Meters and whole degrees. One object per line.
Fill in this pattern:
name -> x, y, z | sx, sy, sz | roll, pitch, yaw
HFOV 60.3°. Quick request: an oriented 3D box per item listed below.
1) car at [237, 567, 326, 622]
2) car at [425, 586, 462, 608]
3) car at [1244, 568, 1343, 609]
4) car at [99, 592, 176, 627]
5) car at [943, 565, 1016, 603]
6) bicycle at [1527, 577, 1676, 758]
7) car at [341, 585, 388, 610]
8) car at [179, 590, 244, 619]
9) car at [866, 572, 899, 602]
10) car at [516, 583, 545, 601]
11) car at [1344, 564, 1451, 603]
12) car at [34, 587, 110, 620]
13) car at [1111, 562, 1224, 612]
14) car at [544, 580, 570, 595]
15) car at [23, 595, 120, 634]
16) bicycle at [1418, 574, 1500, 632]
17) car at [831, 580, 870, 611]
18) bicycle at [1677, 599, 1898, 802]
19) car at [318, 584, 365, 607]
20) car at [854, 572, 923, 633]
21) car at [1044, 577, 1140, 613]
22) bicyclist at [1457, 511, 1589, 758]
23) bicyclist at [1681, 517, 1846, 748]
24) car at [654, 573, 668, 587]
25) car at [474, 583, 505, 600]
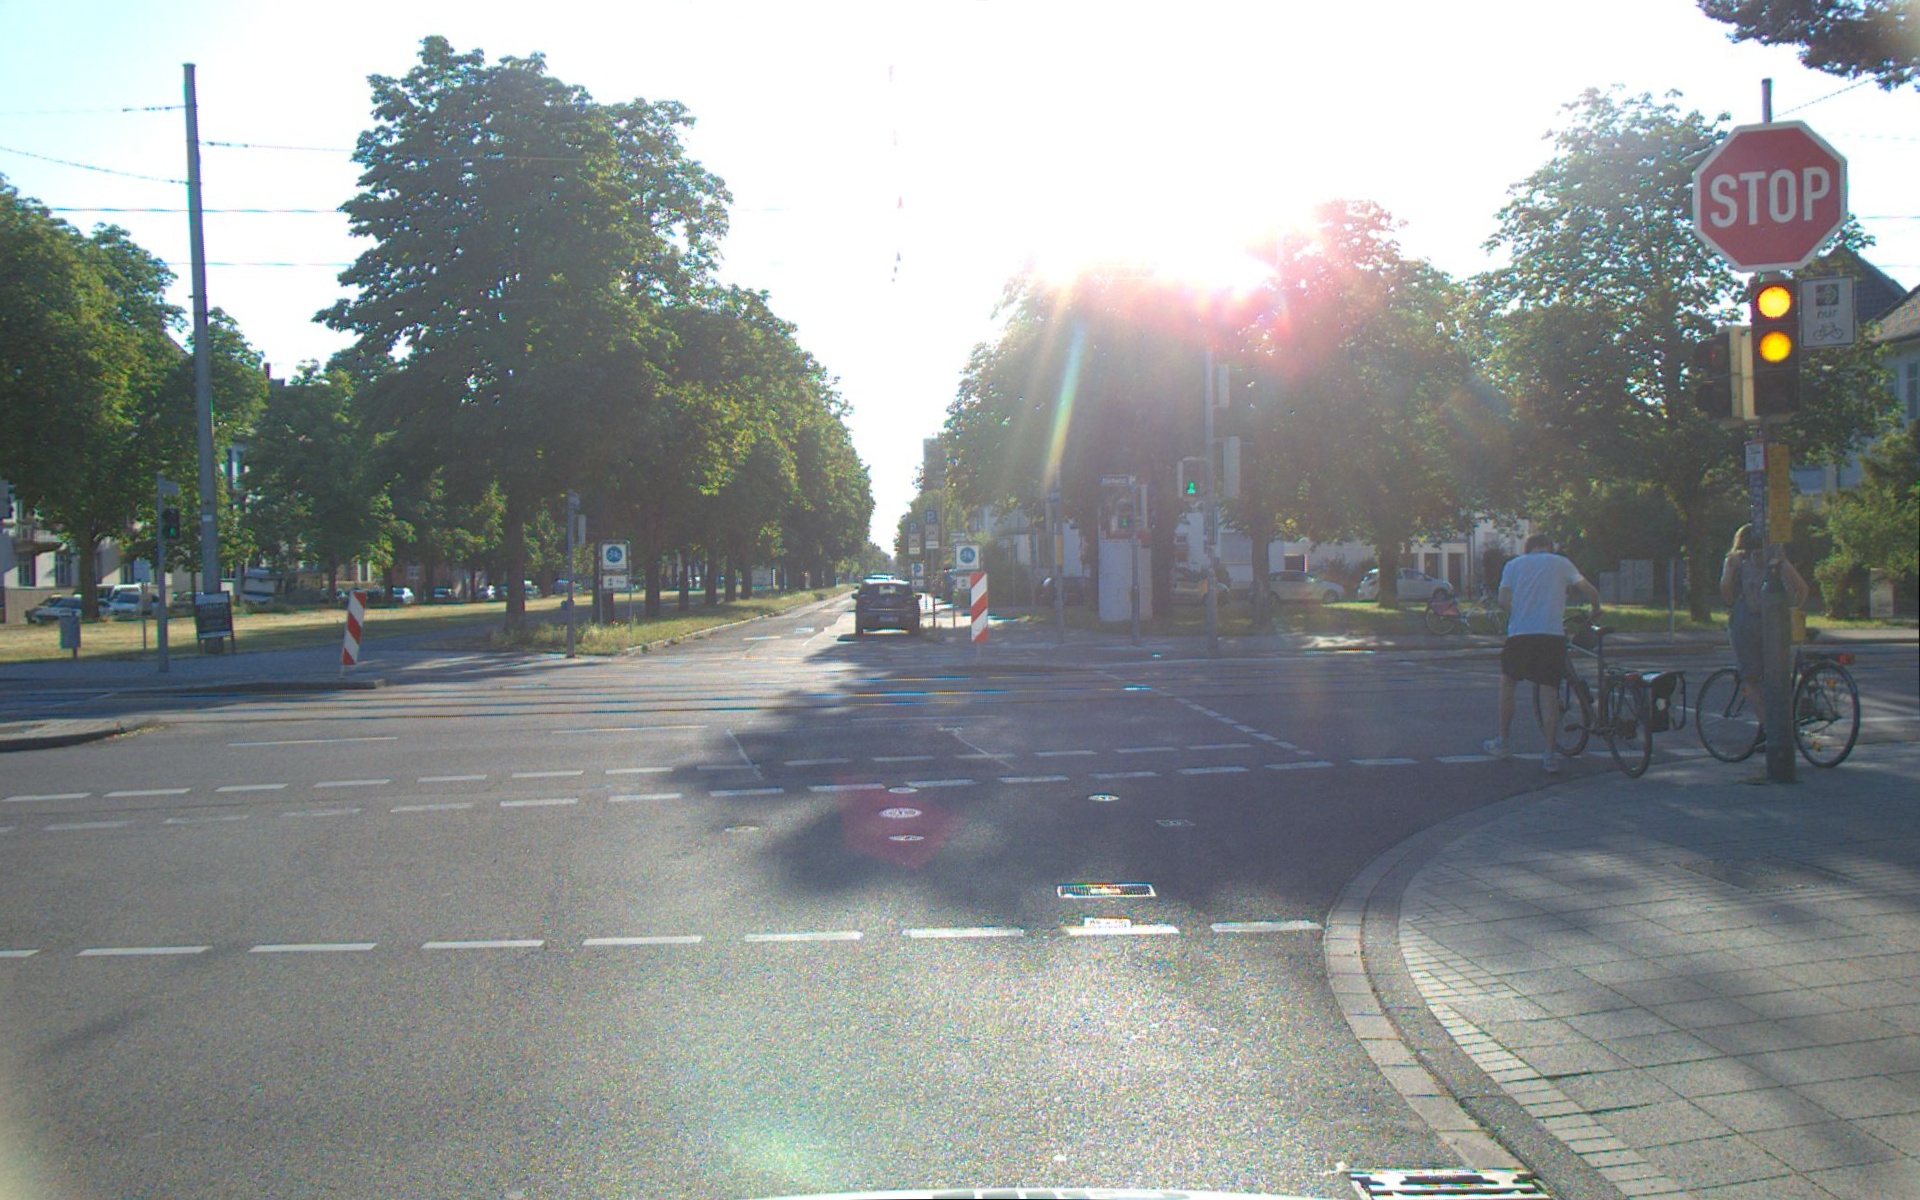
car -> -41.072, -0.378, 100.407 | 2.344, 3.185, 7.850 | 1, 1, -2
car -> -42.496, -0.235, 136.169 | 1.775, 1.812, 4.121 | 1, 0, -2
car -> 13.208, -0.463, 65.537 | 3.487, 1.542, 1.602 | -1, 0, -8
car -> -40.247, 0.446, 81.027 | 1.760, 1.581, 4.416 | 1, 1, -4
car -> 1.099, -0.884, 93.539 | 3.911, 1.854, 1.757 | -2, -5, -7
bicycle -> 4.648, 0.453, 12.093 | 0.560, 1.204, 1.907 | 1, 0, 7
car -> -41.749, -0.162, 116.002 | 1.841, 1.703, 4.313 | 1, 0, -2
car -> -46.095, 0.283, 101.944 | 1.953, 1.688, 4.569 | 1, 0, -1
car -> -4.880, -0.860, 103.664 | 1.954, 1.812, 3.998 | 1, 1, -3
car -> -43.325, -0.808, 166.897 | 1.982, 1.688, 3.982 | 1, 0, -2
car -> 17.523, -0.655, 66.302 | 3.847, 1.550, 1.521 | 0, -1, -8
car -> -45.847, 0.175, 85.491 | 1.681, 1.661, 4.190 | 1, 0, -1
car -> 8.196, -0.501, 65.679 | 4.157, 1.908, 2.029 | -1, 0, -3
car -> -45.449, -1.394, 186.484 | 1.954, 1.688, 4.568 | -1, 1, -3
car -> -40.208, 0.661, 74.991 | 1.953, 1.688, 4.569 | 1, 0, -1
bicycle -> 9.965, 0.059, 33.051 | 1.489, 1.108, 0.468 | -1, 0, 7
car -> -5.148, -0.192, 78.110 | 1.675, 1.383, 4.201 | 1, 0, -2
bicycle -> 5.814, 0.656, 11.753 | 0.481, 1.204, 1.964 | 1, 3, -2
car -> -47.055, -0.337, 125.983 | 1.953, 1.688, 4.373 | 1, 0, -1
car -> -1.879, 0.075, 44.503 | 1.690, 1.537, 4.539 | 1, 0, -1
car -> 5.630, -0.217, 70.806 | 3.907, 1.472, 1.715 | -1, 0, -3
bicyclist -> 4.179, 0.243, 12.342 | 0.797, 1.762, 0.894 | 1, -1, 11
bicyclist -> 5.757, 0.227, 11.891 | 0.698, 1.590, 0.893 | 1, 0, -6
car -> -45.782, -3.062, 253.210 | 1.621, 1.972, 3.565 | 1, -1, -3
car -> -48.906, -0.903, 171.943 | 1.953, 1.688, 4.354 | 1, 0, -1
